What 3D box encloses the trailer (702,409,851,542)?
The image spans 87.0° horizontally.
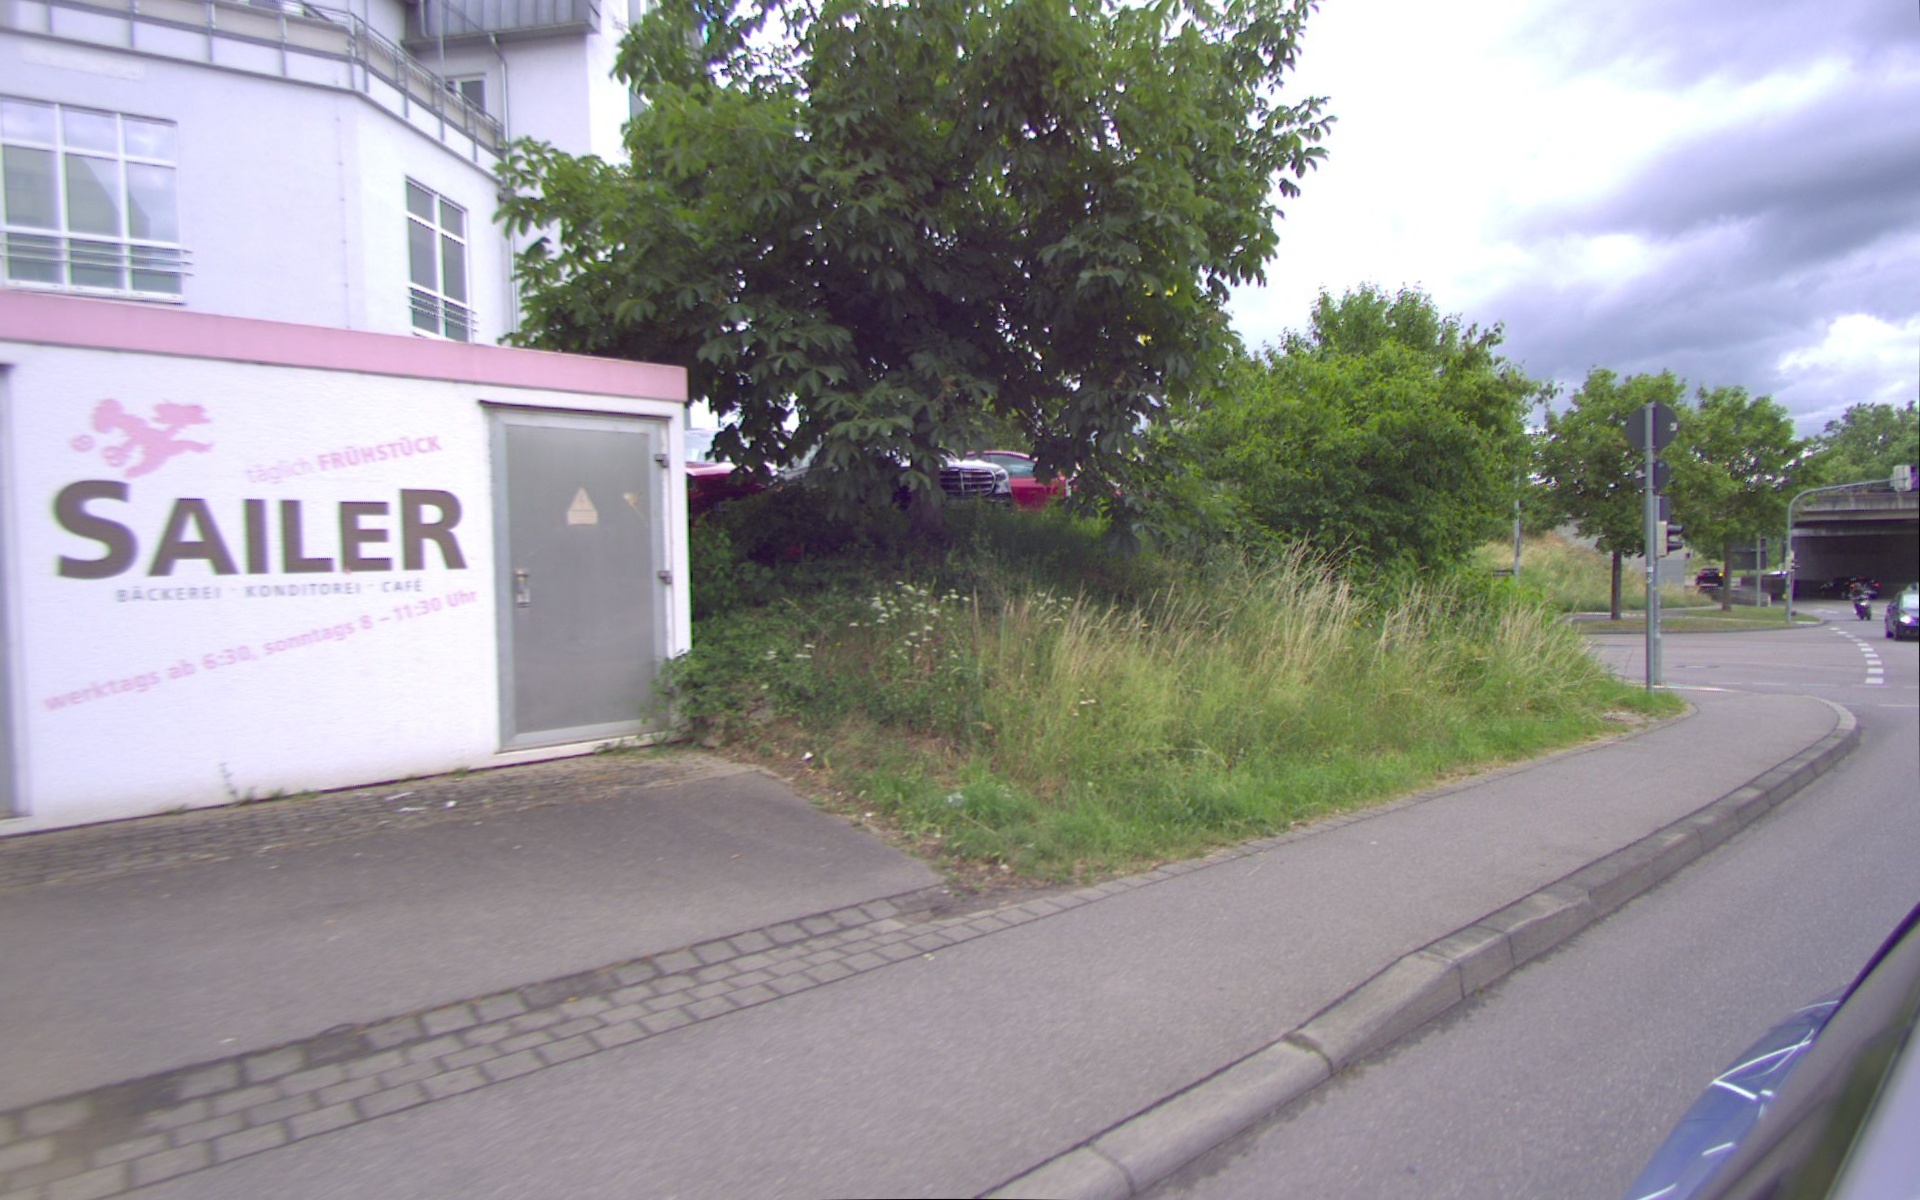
[{"bbox_3d":[-5.200,-3.450,29.848,2.428,3.093,6.481,-2,0,7],"label":"trailer"}]

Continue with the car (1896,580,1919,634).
[{"bbox_3d":[30.490,0.164,31.361,3.932,1.560,1.757,-3,0,-41],"label":"car"}]

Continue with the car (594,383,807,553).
[{"bbox_3d":[-3.683,-1.604,13.712,1.794,1.659,4.518,-2,0,-27],"label":"car"}]

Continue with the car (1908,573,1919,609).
[{"bbox_3d":[44.018,-0.426,45.323,1.750,1.553,4.198,-2,0,37],"label":"car"}]

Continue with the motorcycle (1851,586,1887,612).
[{"bbox_3d":[40.589,-0.050,45.210,0.877,1.118,2.331,-2,0,35],"label":"motorcycle"}]

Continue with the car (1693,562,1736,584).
[{"bbox_3d":[65.501,-2.356,87.872,1.943,1.813,3.972,-2,0,22],"label":"car"}]

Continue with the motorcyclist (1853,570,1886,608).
[{"bbox_3d":[40.451,-0.484,45.026,0.877,1.625,1.228,-2,0,35],"label":"motorcyclist"}]

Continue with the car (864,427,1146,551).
[{"bbox_3d":[0.778,-1.798,17.296,4.456,1.659,1.819,-2,0,21],"label":"car"}]
